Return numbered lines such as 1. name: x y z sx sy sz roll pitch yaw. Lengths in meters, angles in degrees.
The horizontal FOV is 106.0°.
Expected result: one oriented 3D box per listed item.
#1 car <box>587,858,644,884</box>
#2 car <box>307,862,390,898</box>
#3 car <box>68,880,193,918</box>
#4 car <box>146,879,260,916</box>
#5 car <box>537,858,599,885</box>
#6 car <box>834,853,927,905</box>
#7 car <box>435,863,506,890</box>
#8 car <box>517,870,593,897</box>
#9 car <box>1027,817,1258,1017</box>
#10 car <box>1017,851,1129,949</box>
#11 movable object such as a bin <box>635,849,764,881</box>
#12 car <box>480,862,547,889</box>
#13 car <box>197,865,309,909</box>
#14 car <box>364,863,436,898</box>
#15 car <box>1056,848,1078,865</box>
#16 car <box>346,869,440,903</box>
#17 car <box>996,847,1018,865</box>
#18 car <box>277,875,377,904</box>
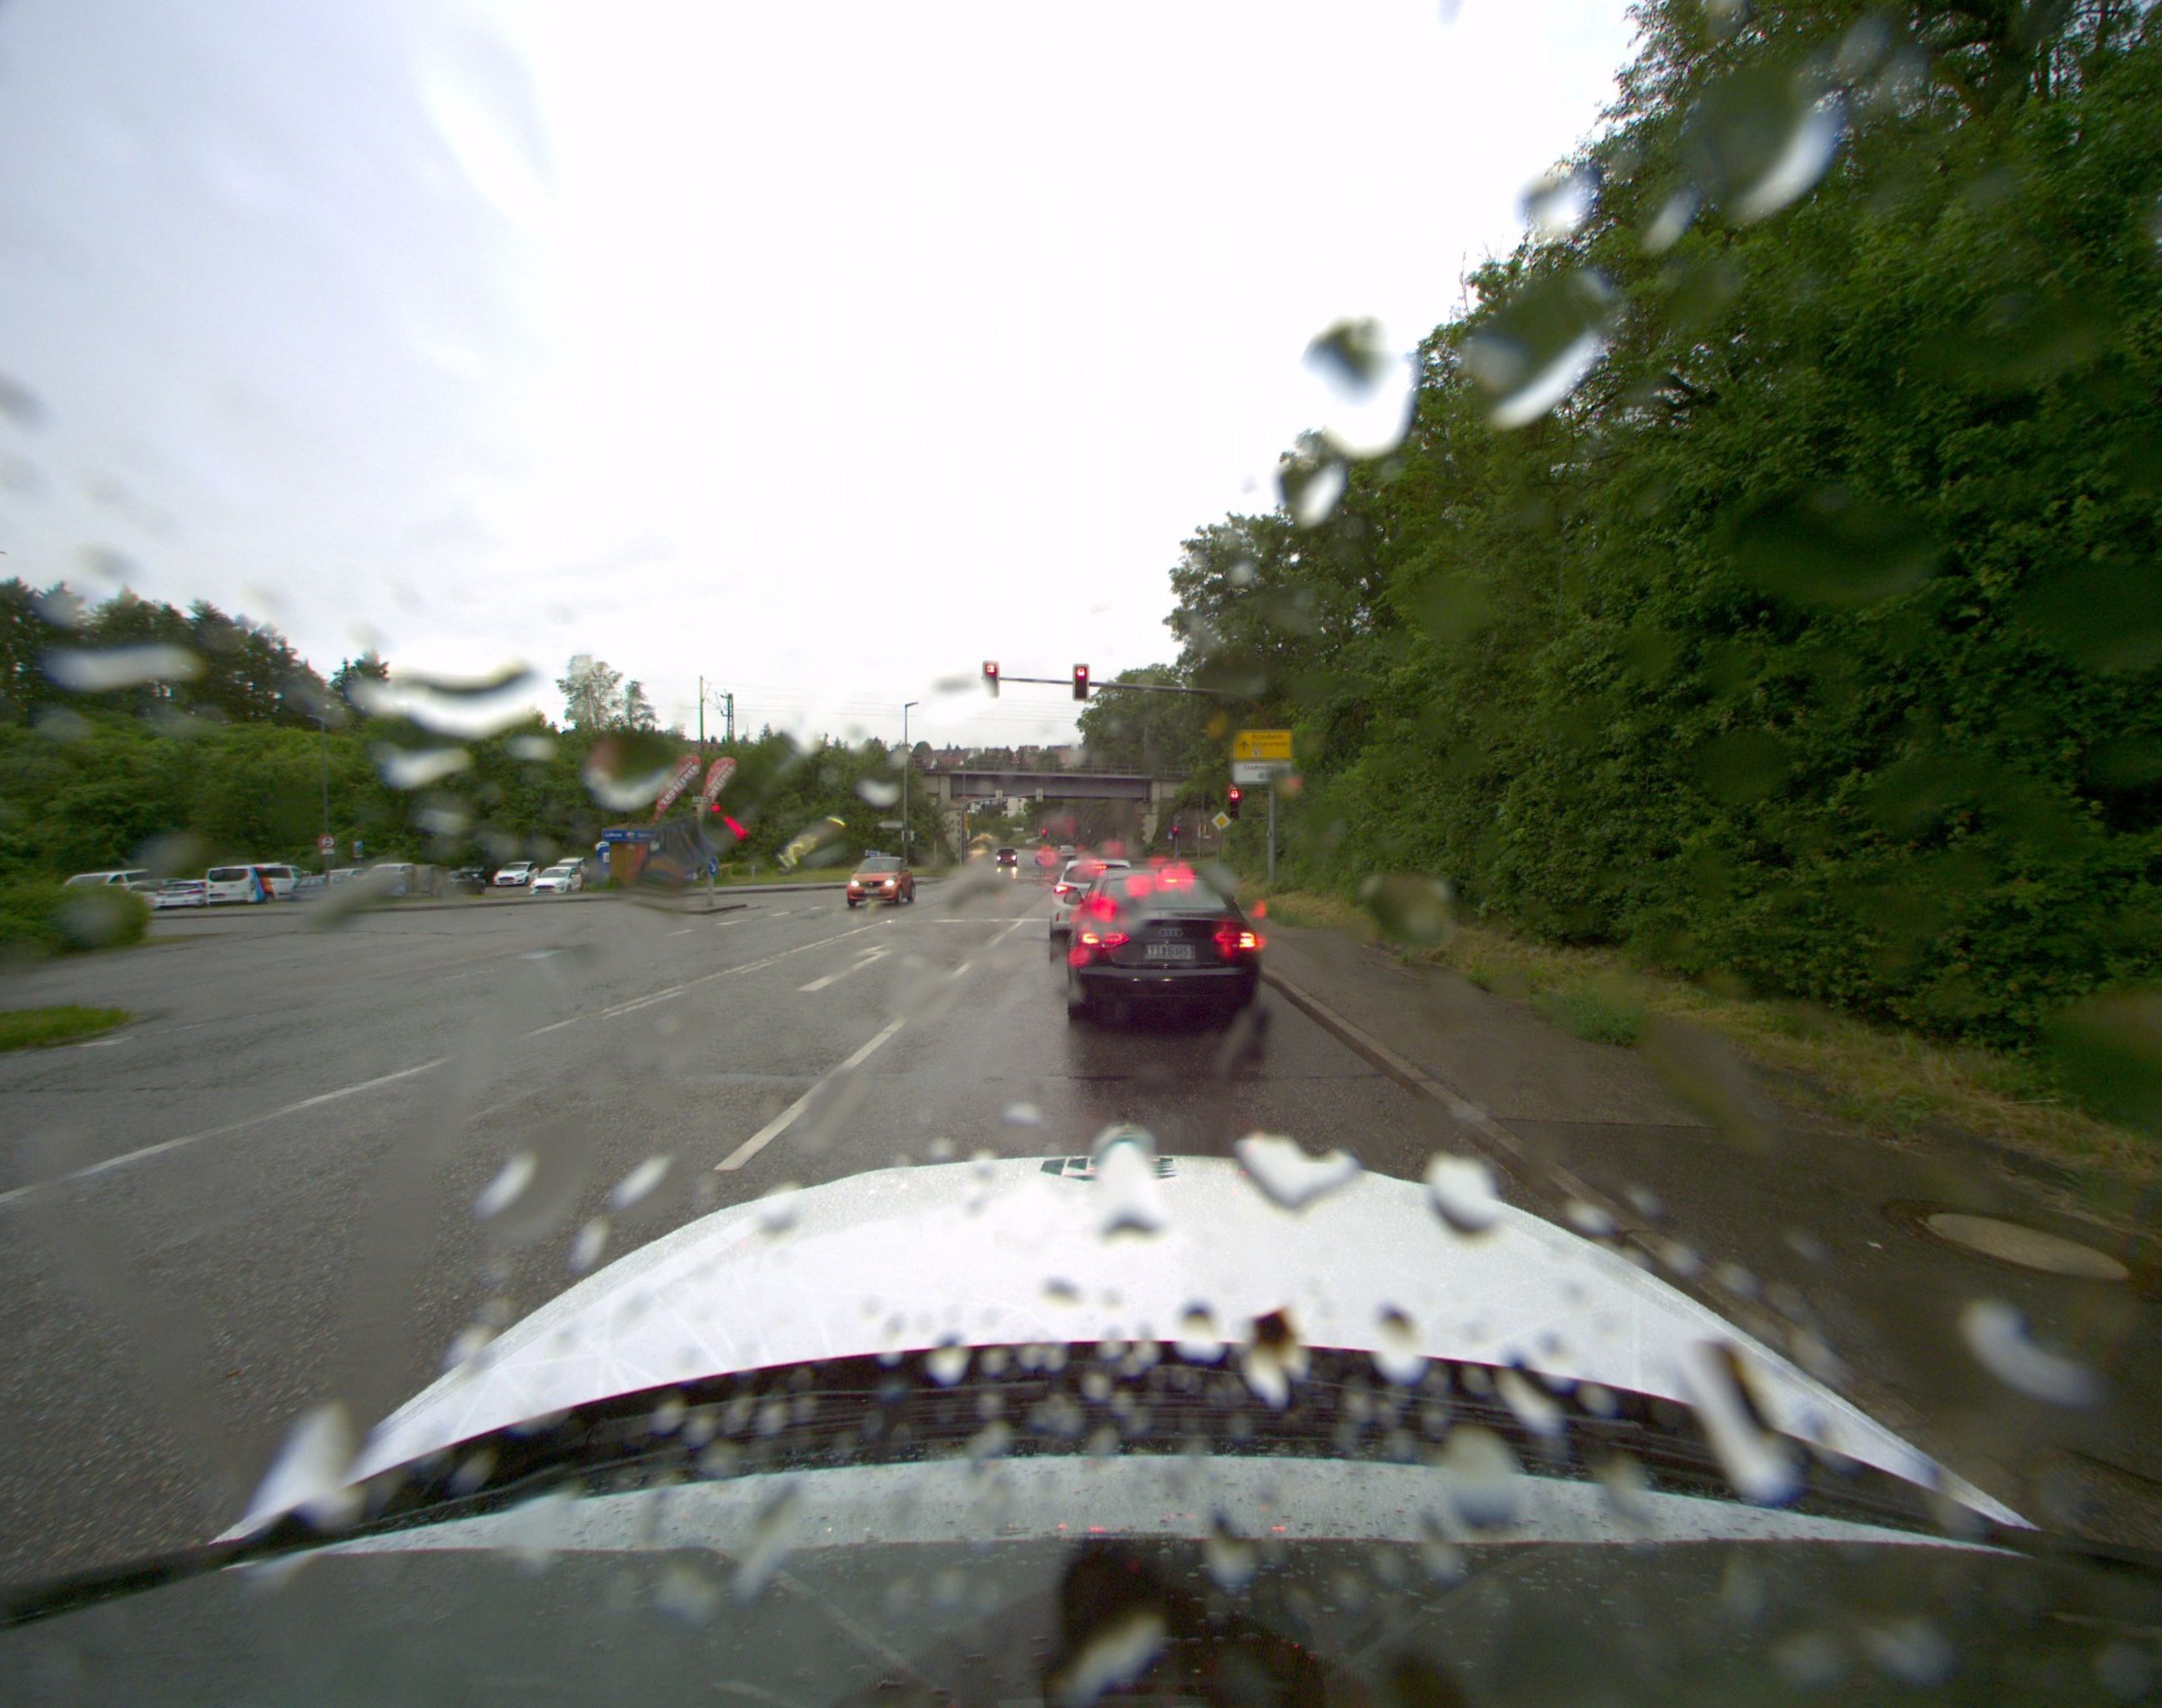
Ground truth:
1. car: -30.346 1.072 53.257 1.994 1.585 3.985 -2 0 -11
2. car: -44.739 1.555 49.837 1.995 2.013 3.983 -2 0 -12
3. car: -44.335 2.057 38.131 1.837 1.585 3.978 0 -1 -16
4. car: -41.700 2.013 38.838 1.858 1.585 3.978 0 -1 -16
5. car: -32.583 1.079 51.855 1.994 1.585 3.985 -2 0 -11
6. car: -6.610 0.804 27.268 1.986 1.585 4.001 -1 -1 2
7. car: -37.919 1.380 50.696 1.994 1.585 3.984 -1 -1 -11
8. car: -27.822 1.514 43.265 1.652 1.340 4.883 -1 -1 -11
9. car: 0.561 0.553 8.675 1.863 1.617 4.001 -1 -1 2
10. car: -0.073 0.788 15.366 1.816 1.585 4.001 -1 -1 2
11. movable object such as a bin: -20.842 0.605 44.726 2.716 1.628 5.816 -2 -1 41
12. car: -35.430 1.348 50.952 1.994 1.585 3.984 -1 -1 -11
13. car: -39.415 1.533 38.915 1.997 1.949 3.978 0 -1 -16
14. car: -42.139 1.618 50.514 1.941 2.013 3.849 0 0 -15
15. car: -1.567 0.315 87.370 1.804 1.742 4.467 -1 -1 -8
16. car: -34.604 1.573 41.122 1.937 1.585 3.892 -1 -1 -11
17. car: -6.946 0.167 76.378 1.990 1.628 3.993 -2 0 -5
18. car: -37.136 1.732 40.258 1.751 1.310 3.984 -1 -1 -11
